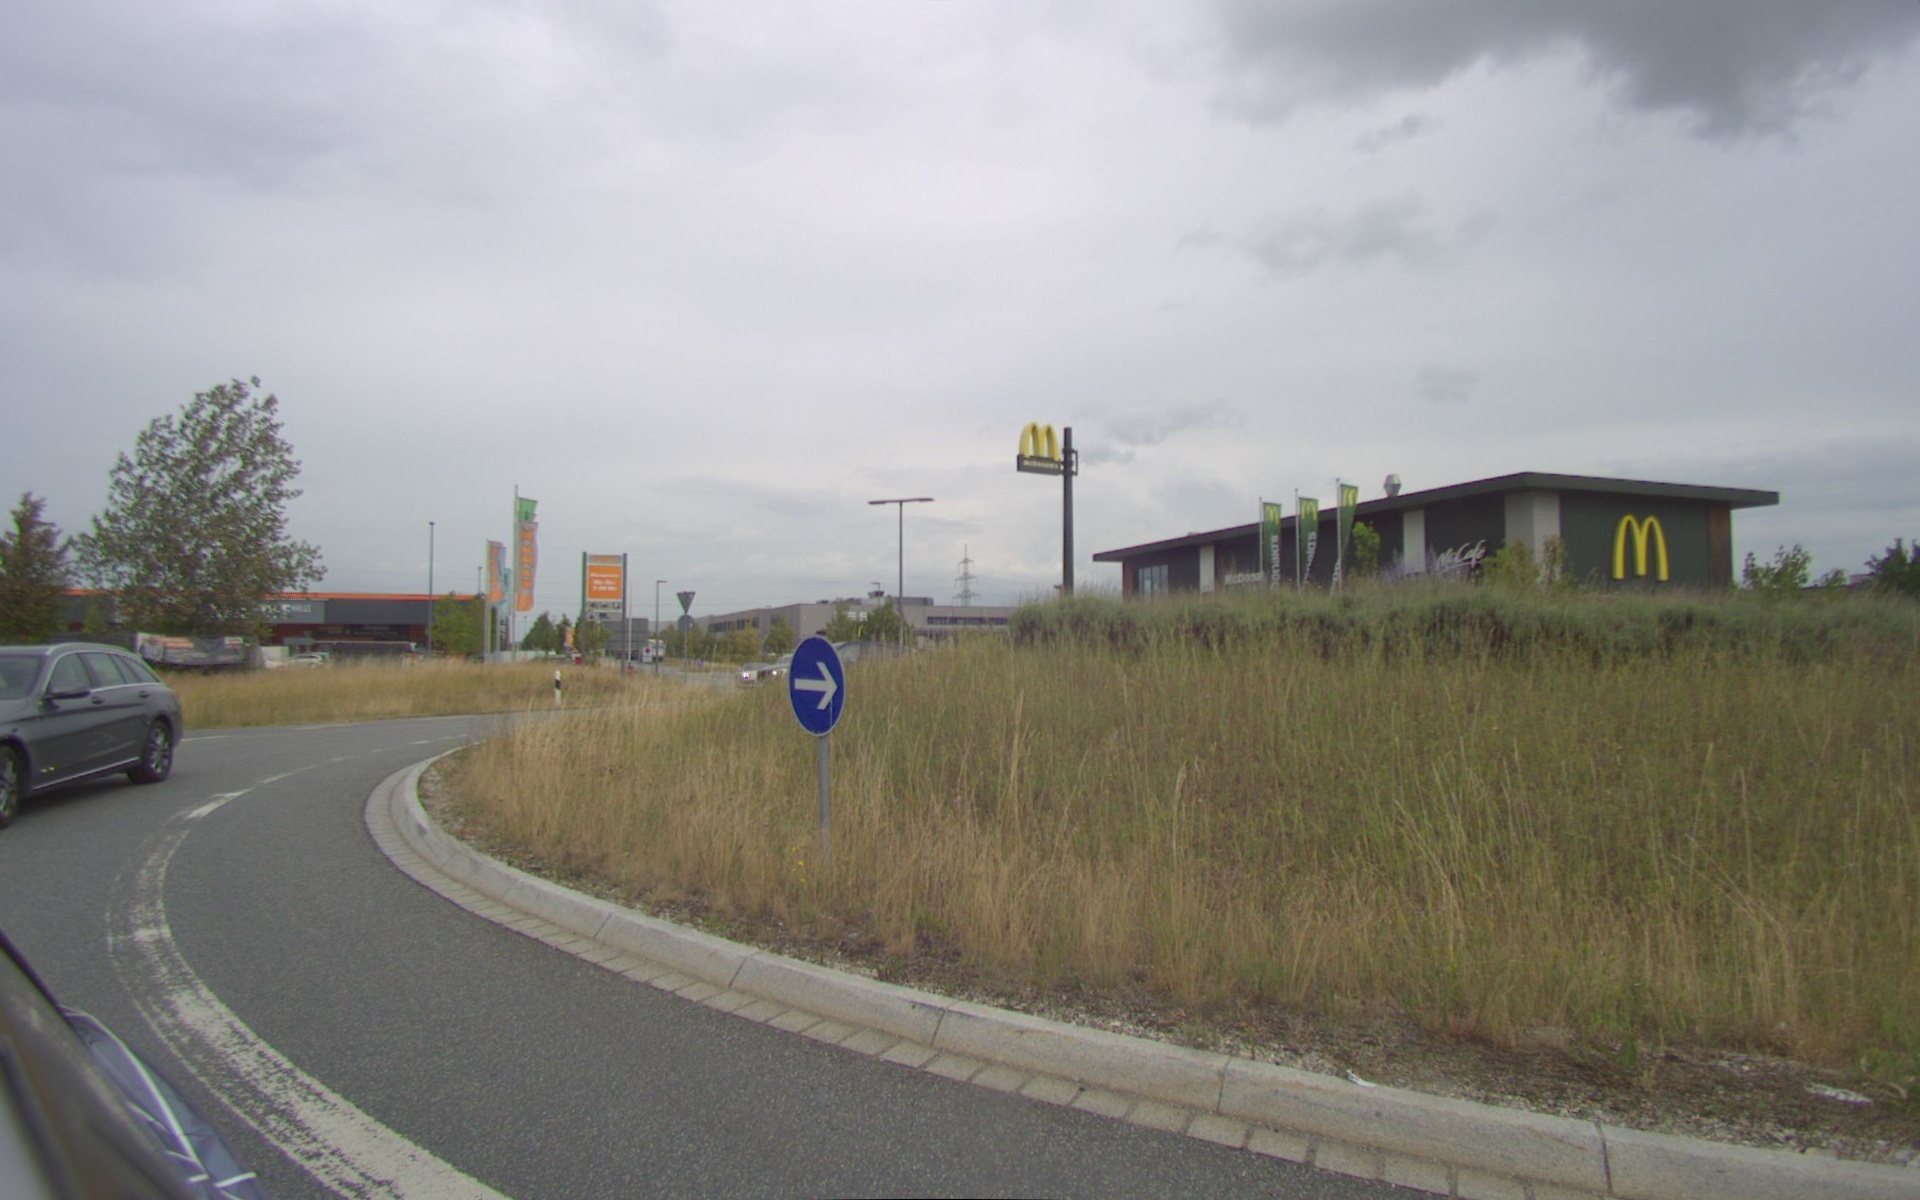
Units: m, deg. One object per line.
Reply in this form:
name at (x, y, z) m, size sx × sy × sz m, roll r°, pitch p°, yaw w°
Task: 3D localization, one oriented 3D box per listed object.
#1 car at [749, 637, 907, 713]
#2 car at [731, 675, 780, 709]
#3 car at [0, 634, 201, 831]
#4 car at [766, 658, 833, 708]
car at (-3.616, 2.015, 27.555) m, size 3.932 × 1.732 × 1.849 m, roll -3°, pitch -3°, yaw -17°
car at (-10.115, 4.489, 49.769) m, size 1.797 × 1.409 × 4.748 m, roll 0°, pitch -3°, yaw -18°
car at (-8.656, 1.069, 8.813) m, size 1.875 × 1.508 × 4.351 m, roll -1°, pitch -2°, yaw -16°
car at (-5.350, 2.756, 34.250) m, size 1.968 × 1.516 × 4.312 m, roll -1°, pitch -3°, yaw -6°
